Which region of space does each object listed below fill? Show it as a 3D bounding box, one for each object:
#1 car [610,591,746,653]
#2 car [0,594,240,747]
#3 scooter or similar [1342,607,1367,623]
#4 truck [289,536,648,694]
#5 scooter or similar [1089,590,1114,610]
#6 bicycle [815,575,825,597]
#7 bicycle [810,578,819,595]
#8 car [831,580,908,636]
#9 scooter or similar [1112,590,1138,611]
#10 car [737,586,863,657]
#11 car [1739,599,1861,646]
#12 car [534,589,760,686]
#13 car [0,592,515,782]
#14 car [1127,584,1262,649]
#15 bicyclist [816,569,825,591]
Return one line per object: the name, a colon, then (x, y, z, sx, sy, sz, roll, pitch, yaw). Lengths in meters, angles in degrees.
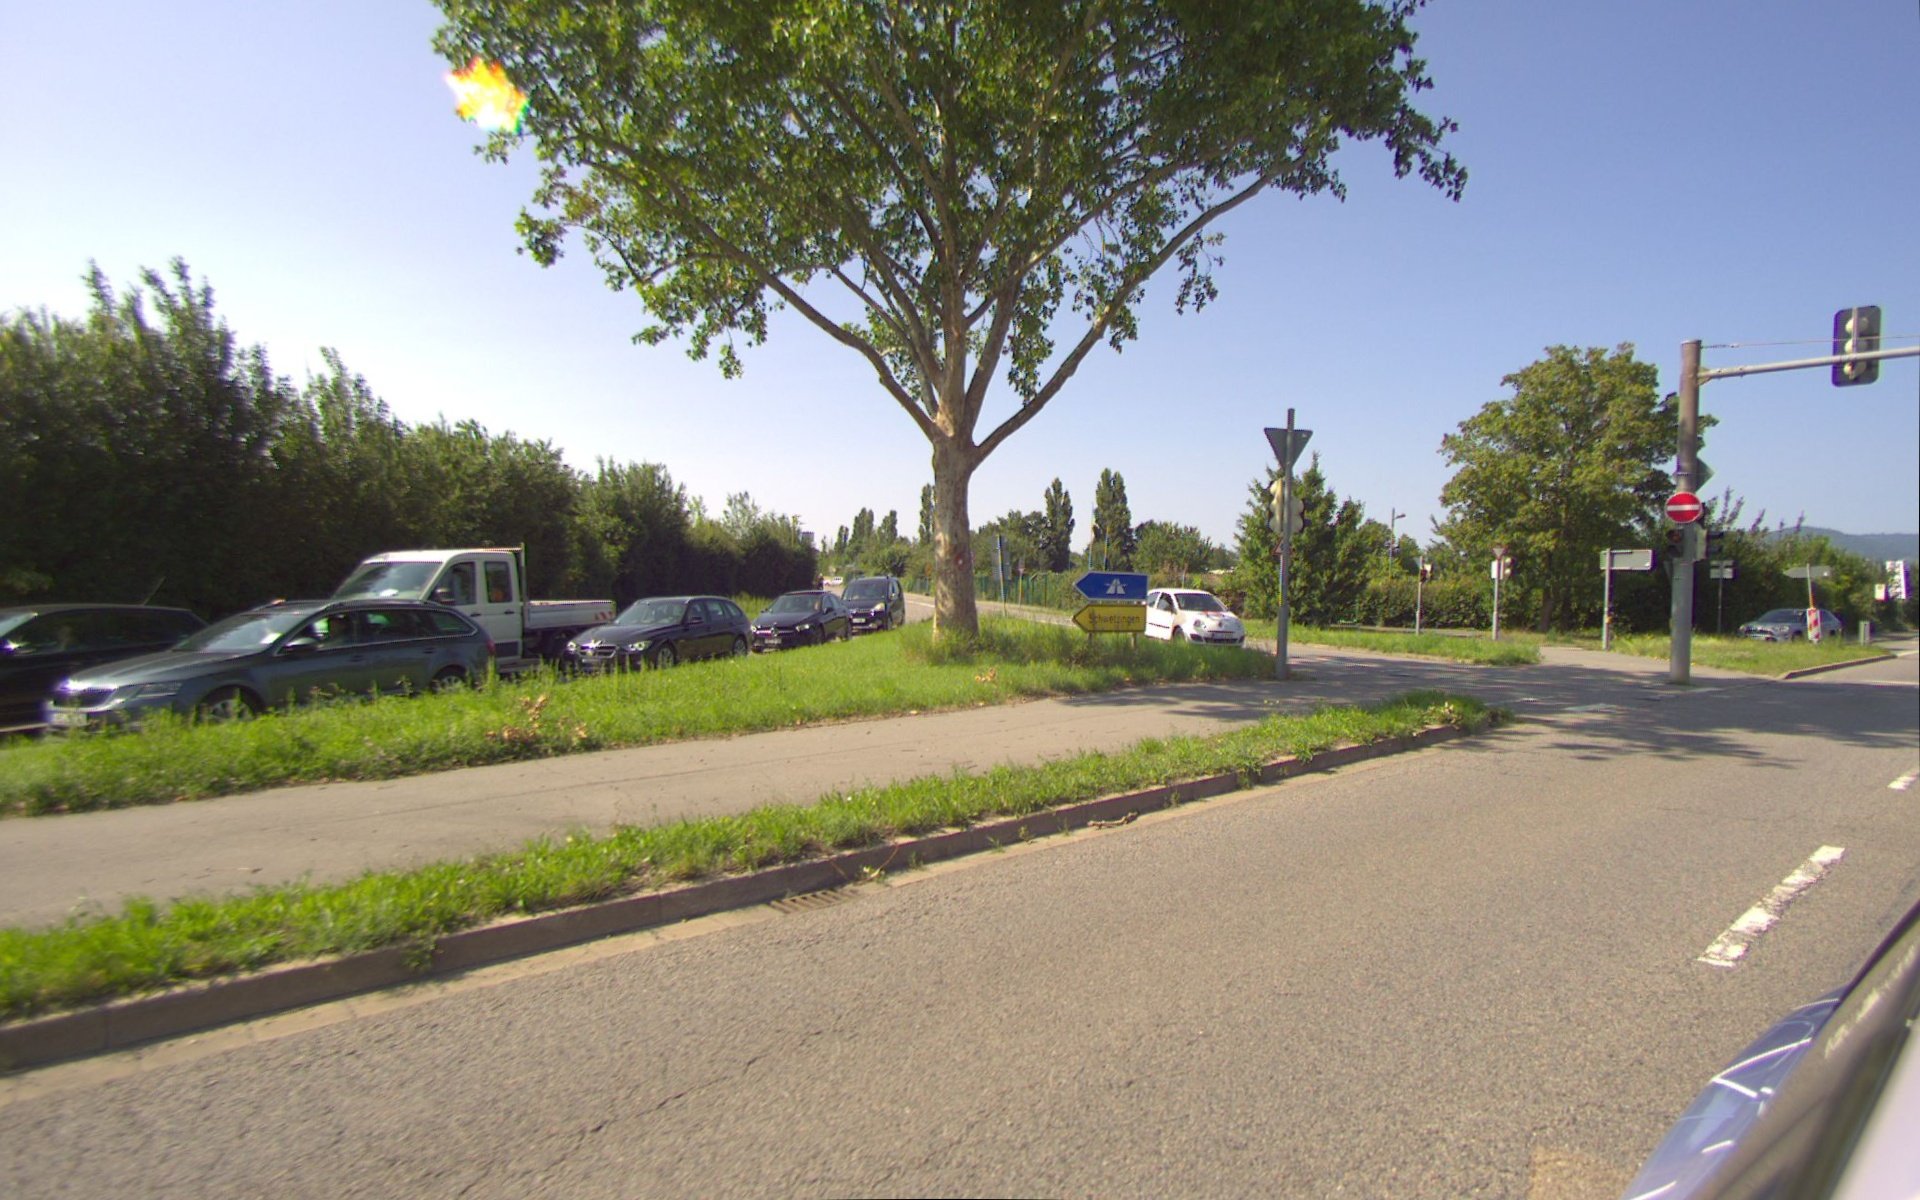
car: (-7.242, 0.512, 26.411, 1.860, 1.438, 3.989, -1, 1, 10)
car: (-10.556, 0.752, 11.389, 1.600, 1.567, 3.802, -1, 1, 19)
scooter or similar: (19.586, 0.732, 50.233, 1.113, 0.735, 0.431, 3, 2, 30)
truck: (-8.673, 0.198, 18.863, 2.312, 2.416, 6.443, -1, 1, 16)
scooter or similar: (8.060, -0.010, 57.608, 1.379, 1.131, 0.493, 1, 0, 43)
bicycle: (-9.176, -0.901, 66.471, 0.599, 1.393, 2.284, 0, 1, -8)
bicycle: (-10.437, -0.961, 72.556, 0.599, 1.248, 2.284, 0, 1, -8)
car: (-2.854, 0.224, 32.805, 1.852, 1.655, 4.465, -1, 0, 3)
scooter or similar: (9.196, 0.012, 56.534, 1.379, 1.131, 0.493, 1, 0, 43)
car: (-4.012, 0.498, 26.119, 1.856, 1.655, 4.455, -1, 0, 10)
car: (33.225, 0.871, 40.022, 4.586, 1.701, 1.912, 1, 1, -25)
car: (-5.614, 0.585, 18.821, 1.971, 1.547, 4.448, 0, 1, 15)
car: (-7.410, 0.727, 11.214, 1.974, 1.567, 4.589, 1, 1, 19)
car: (5.788, 0.360, 25.399, 1.748, 1.487, 3.763, 1, 1, -14)
bicyclist: (-9.167, -1.317, 66.498, 0.599, 1.398, 0.920, 0, 0, -7)
